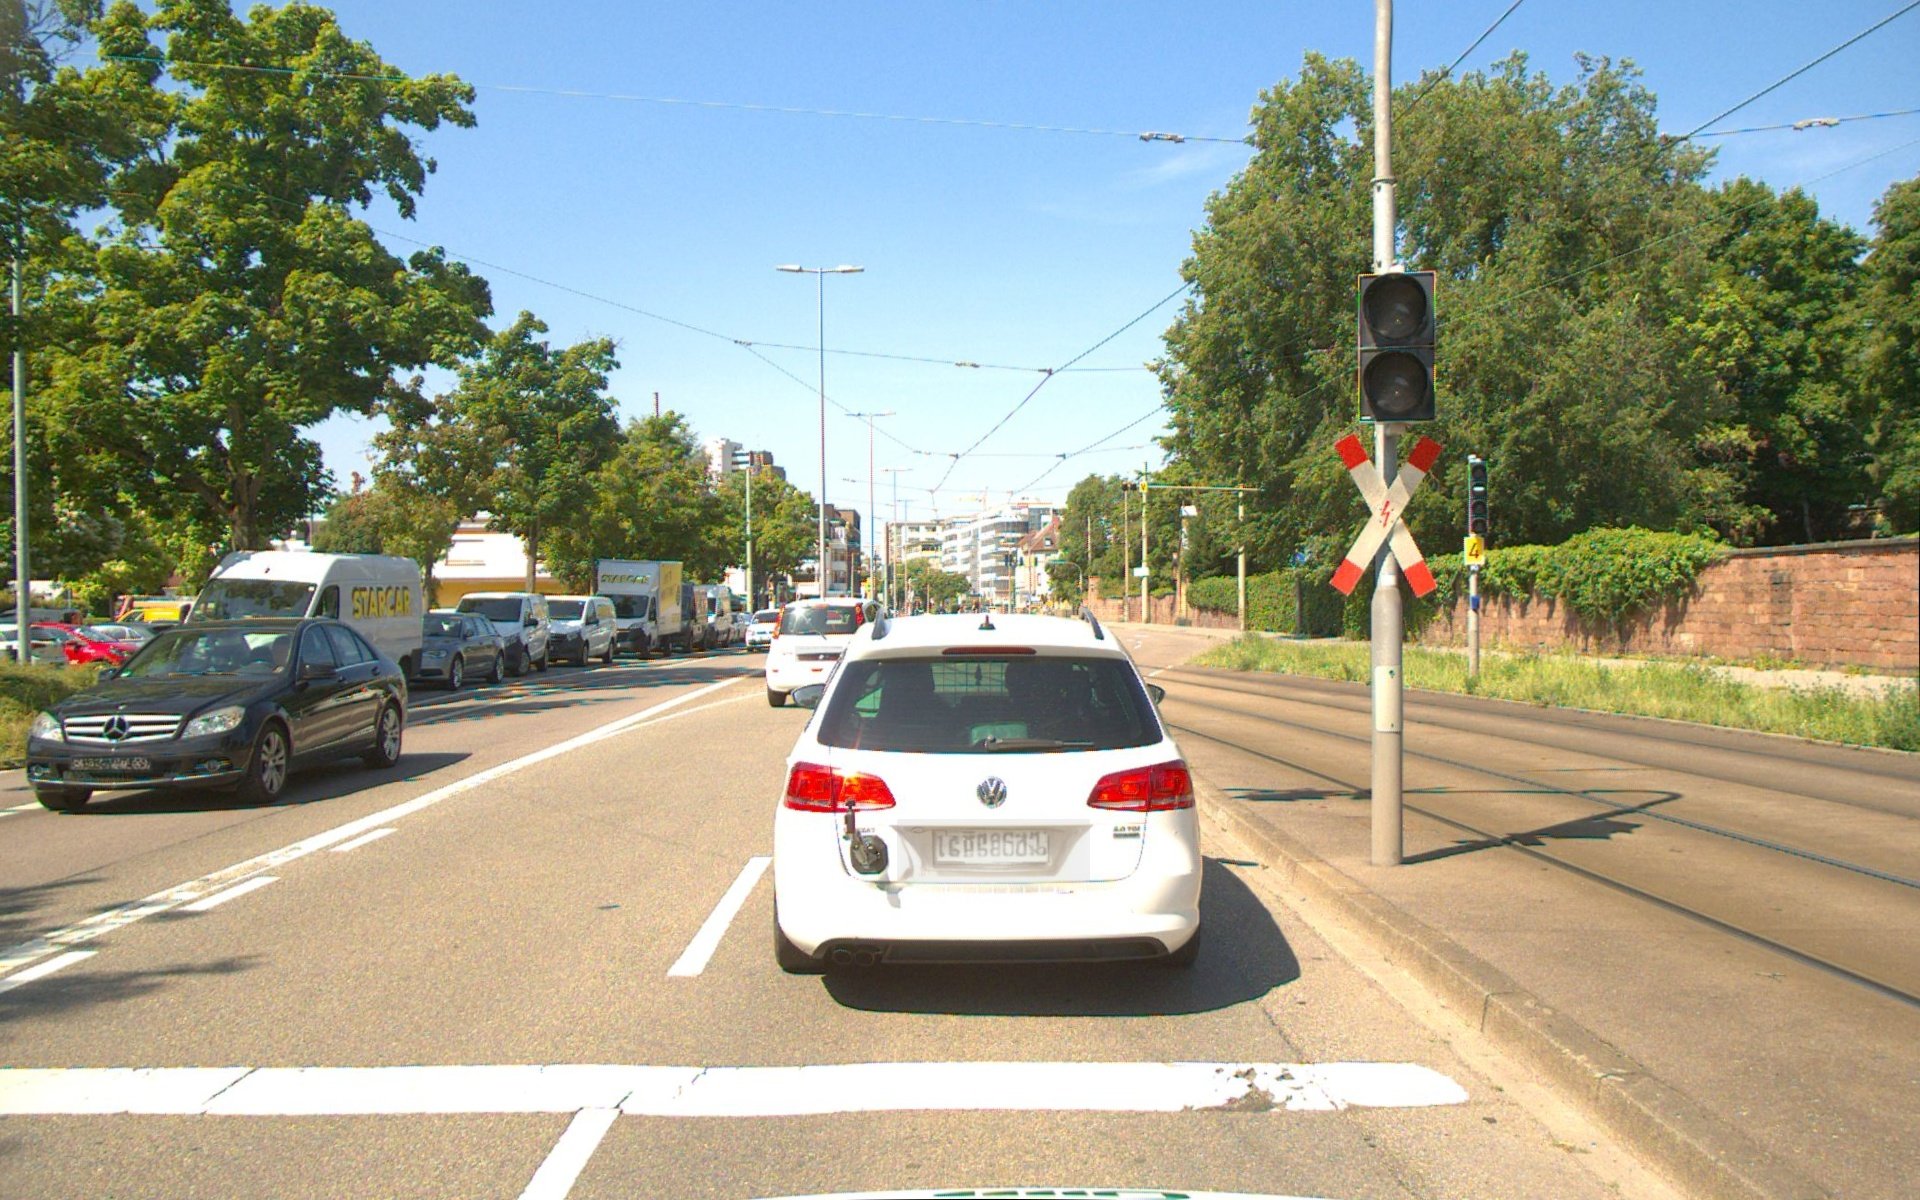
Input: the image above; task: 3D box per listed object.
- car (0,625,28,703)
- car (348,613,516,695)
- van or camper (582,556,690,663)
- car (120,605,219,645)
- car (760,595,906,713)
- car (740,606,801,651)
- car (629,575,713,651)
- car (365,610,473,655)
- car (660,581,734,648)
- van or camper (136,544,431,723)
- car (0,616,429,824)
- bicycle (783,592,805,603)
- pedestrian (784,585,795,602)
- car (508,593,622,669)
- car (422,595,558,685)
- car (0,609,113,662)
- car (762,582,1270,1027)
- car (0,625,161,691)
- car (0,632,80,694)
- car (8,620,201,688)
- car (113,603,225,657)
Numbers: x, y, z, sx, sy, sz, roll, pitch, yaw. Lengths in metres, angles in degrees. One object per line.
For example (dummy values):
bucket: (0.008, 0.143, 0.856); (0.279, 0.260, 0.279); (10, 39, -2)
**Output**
car: (-21.431, 1.343, 33.678); (3.906, 1.571, 1.663); (-1, -1, -1)
car: (-10.559, 1.028, 33.473); (1.893, 1.480, 4.884); (-1, 0, -1)
van or camper: (-10.692, 0.312, 55.111); (2.151, 3.298, 6.772); (1, 0, 0)
car: (-47.323, 1.499, 99.102); (4.831, 2.212, 2.099); (-1, -1, -4)
car: (-1.830, 0.757, 24.959); (1.694, 1.624, 4.012); (0, 0, 3)
car: (-6.766, 1.000, 59.399); (1.692, 1.491, 4.000); (-1, 0, 1)
car: (-10.932, 0.483, 63.037); (2.151, 2.715, 6.078); (1, 0, -1)
car: (-22.274, 1.332, 68.169); (3.907, 1.724, 1.662); (-1, -1, -3)
car: (-11.018, 0.604, 69.751); (2.151, 2.677, 5.978); (1, 0, -1)
van or camper: (-10.832, 0.498, 27.145); (2.211, 2.558, 6.147); (-1, 0, 1)
car: (-6.176, 0.901, 14.266); (1.749, 1.434, 4.304); (-2, 0, 0)
bicycle: (-15.155, -0.222, 151.101); (0.543, 0.937, 2.164); (-2, 0, 42)
pedestrian: (-15.576, -0.565, 151.481); (0.556, 1.513, 0.811); (-2, -1, 42)
car: (-11.078, 0.840, 46.810); (2.152, 1.975, 5.182); (-1, 0, -3)
car: (-11.195, 0.903, 39.790); (2.153, 1.975, 5.179); (-1, 0, -5)
car: (-36.474, 1.411, 66.378); (3.909, 2.038, 1.909); (-1, 0, -5)
car: (0.195, 0.715, 7.662); (1.742, 1.516, 3.846); (1, 0, 0)
car: (-21.093, 1.353, 38.723); (3.906, 1.434, 1.732); (-1, 0, -1)
car: (-21.551, 1.392, 36.009); (3.836, 1.293, 1.663); (-1, -1, -1)
car: (-21.307, 1.330, 41.280); (3.906, 1.571, 1.663); (-1, 0, -1)
car: (-34.099, 1.275, 71.372); (3.909, 2.238, 1.909); (-1, 0, -5)
